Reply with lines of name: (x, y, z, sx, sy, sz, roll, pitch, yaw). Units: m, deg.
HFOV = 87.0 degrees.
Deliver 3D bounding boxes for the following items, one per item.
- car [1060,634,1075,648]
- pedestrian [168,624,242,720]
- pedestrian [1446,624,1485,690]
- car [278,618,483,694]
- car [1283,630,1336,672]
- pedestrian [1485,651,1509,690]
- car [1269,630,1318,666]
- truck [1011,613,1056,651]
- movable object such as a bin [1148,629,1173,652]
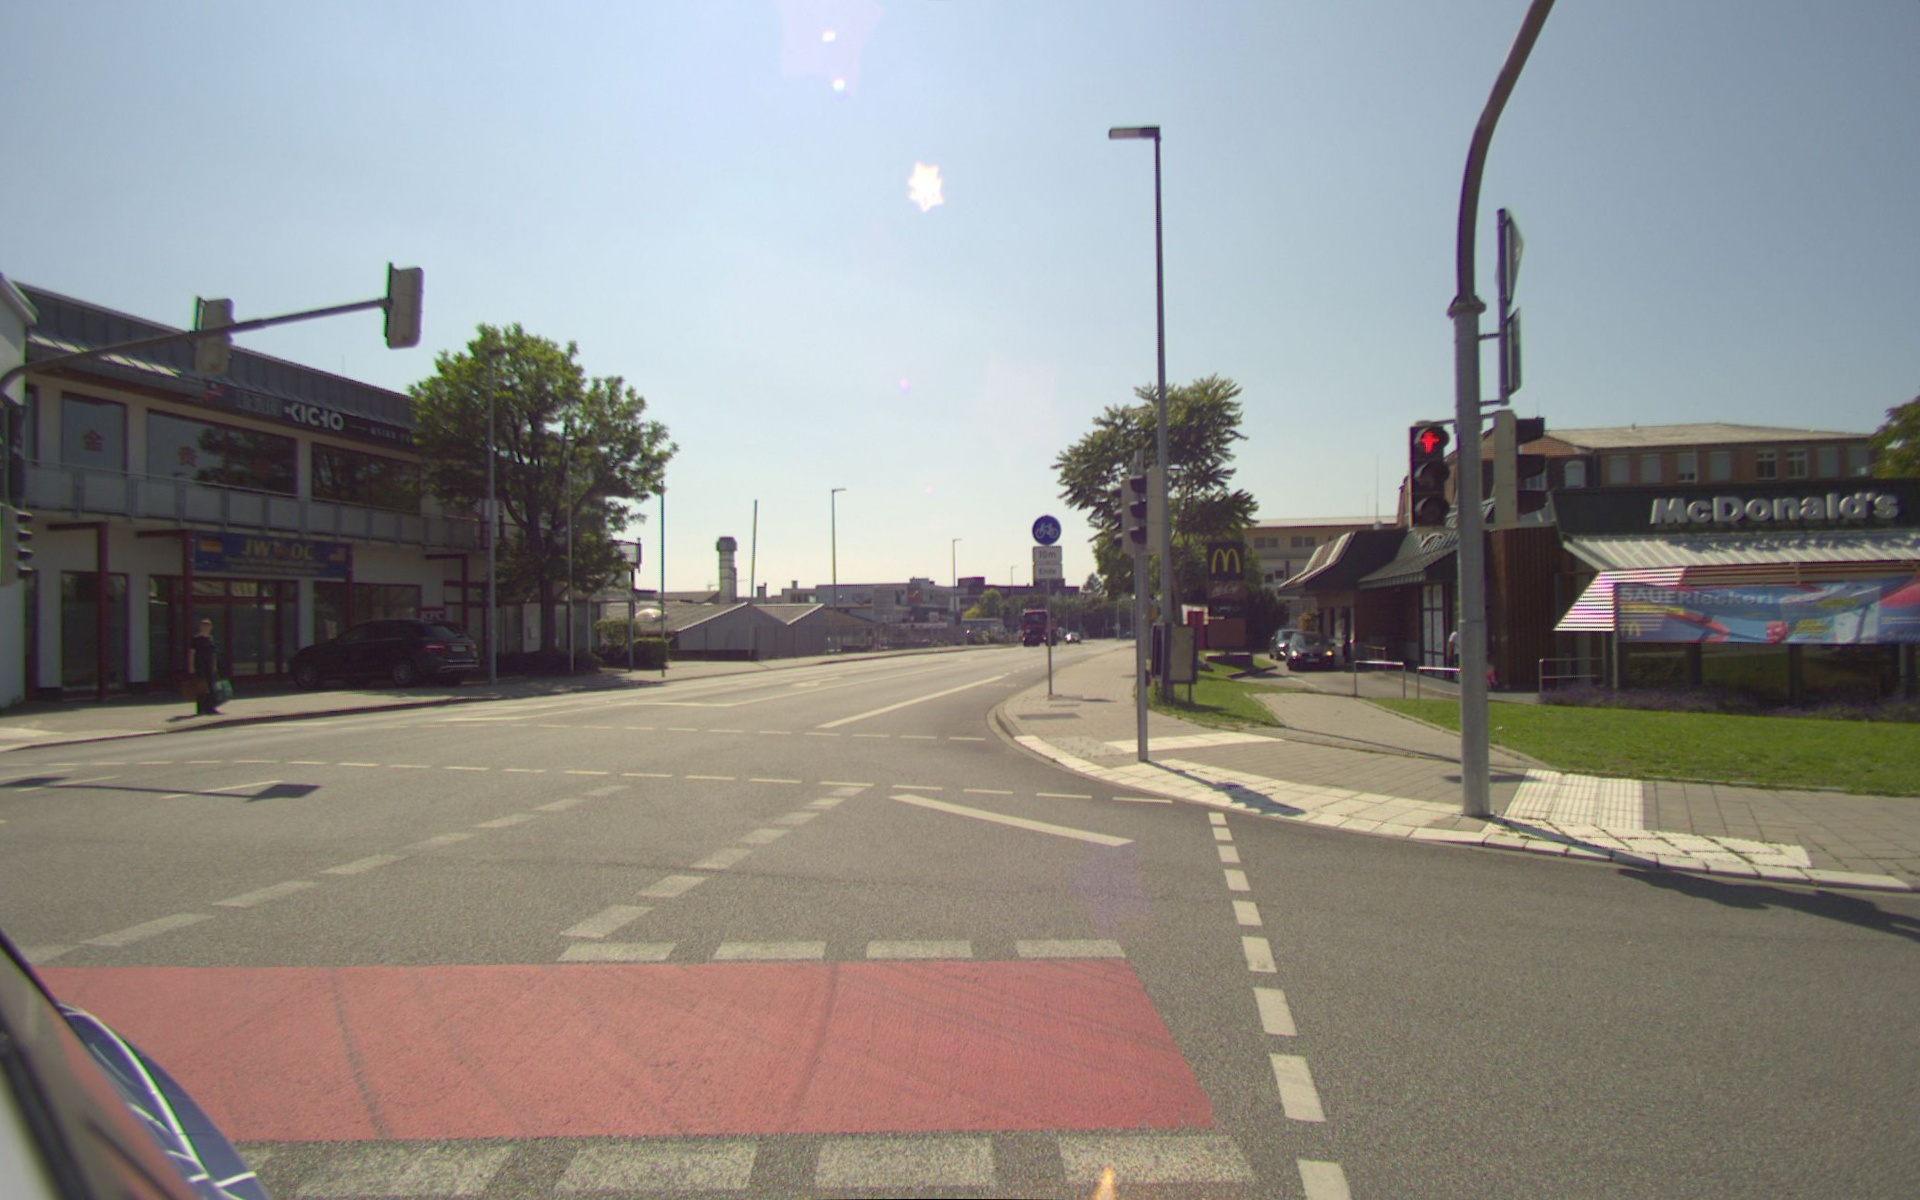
car: (13.858, 5.278, 130.184, 1.814, 1.674, 3.990, -1, -2, 8)
pedestrian: (-13.500, 1.265, 18.114, 0.828, 1.658, 0.736, 0, -2, -14)
pedestrian: (13.823, 1.552, 27.694, 0.630, 1.771, 0.890, -1, -2, 8)
car: (-14.997, 1.432, 26.268, 4.611, 1.870, 1.802, -1, -2, 12)
car: (13.916, 2.020, 40.476, 1.850, 1.564, 4.164, -1, -2, 17)
pedestrian: (14.276, 1.879, 26.908, 0.377, 1.005, 0.509, -1, -2, 8)
car: (15.515, 2.197, 47.218, 1.848, 1.564, 4.168, -1, -2, 14)
truck: (7.230, 3.061, 98.270, 3.279, 3.412, 9.136, -1, -1, 11)
movable object such as a bin: (12.409, 2.511, 62.587, 1.454, 1.422, 1.450, -1, -2, 12)
